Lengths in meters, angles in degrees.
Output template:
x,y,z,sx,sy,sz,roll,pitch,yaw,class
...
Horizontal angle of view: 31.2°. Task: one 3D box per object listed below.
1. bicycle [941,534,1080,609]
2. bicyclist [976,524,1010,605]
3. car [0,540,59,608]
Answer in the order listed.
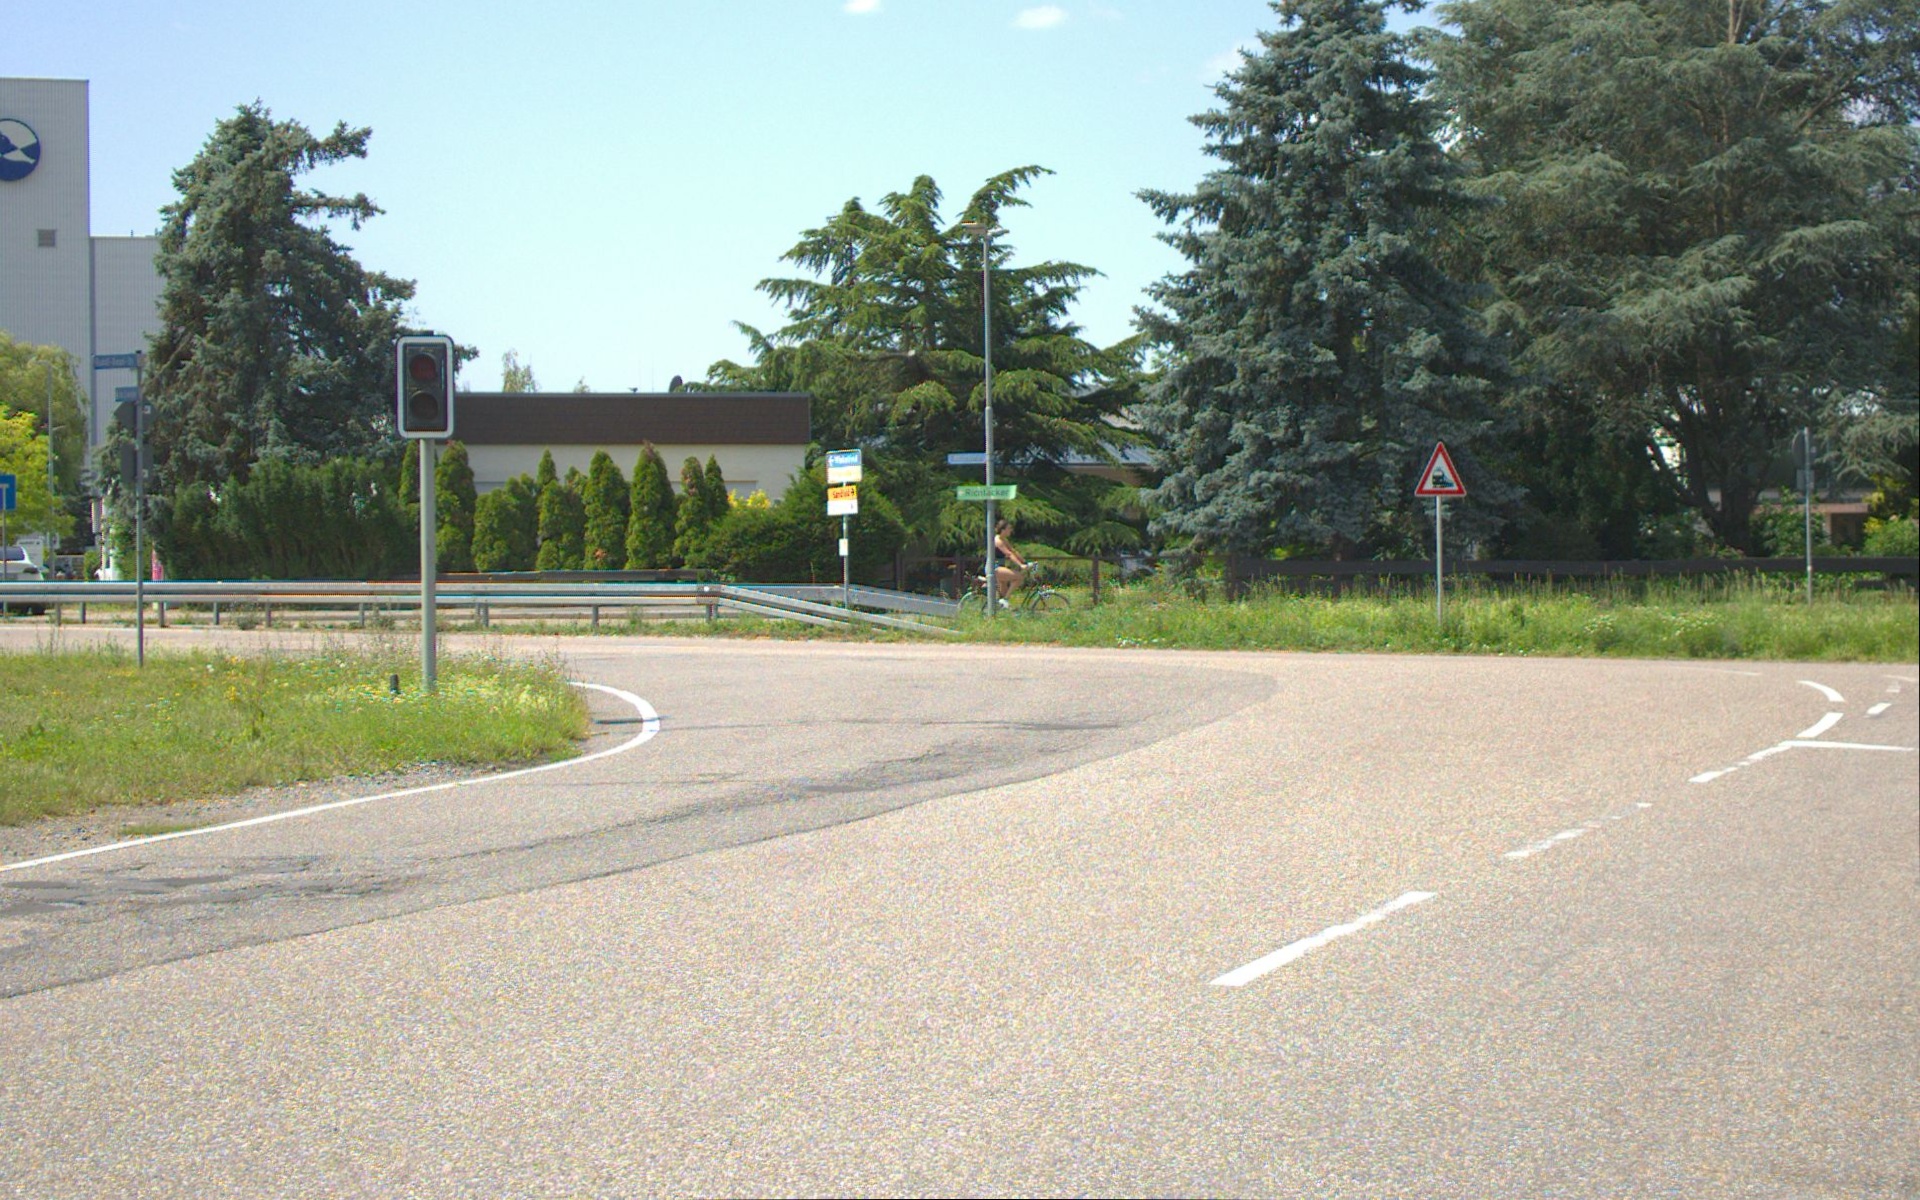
x,y,z,sx,sy,sz,roll,pitch,yaw,class
0.790,-0.446,53.592,2.139,1.161,0.661,0,1,4,bicycle
0.520,-0.560,53.595,0.510,1.251,0.469,0,1,3,bicyclist
-22.291,-0.624,79.982,1.993,1.504,4.455,-1,1,-22,car
